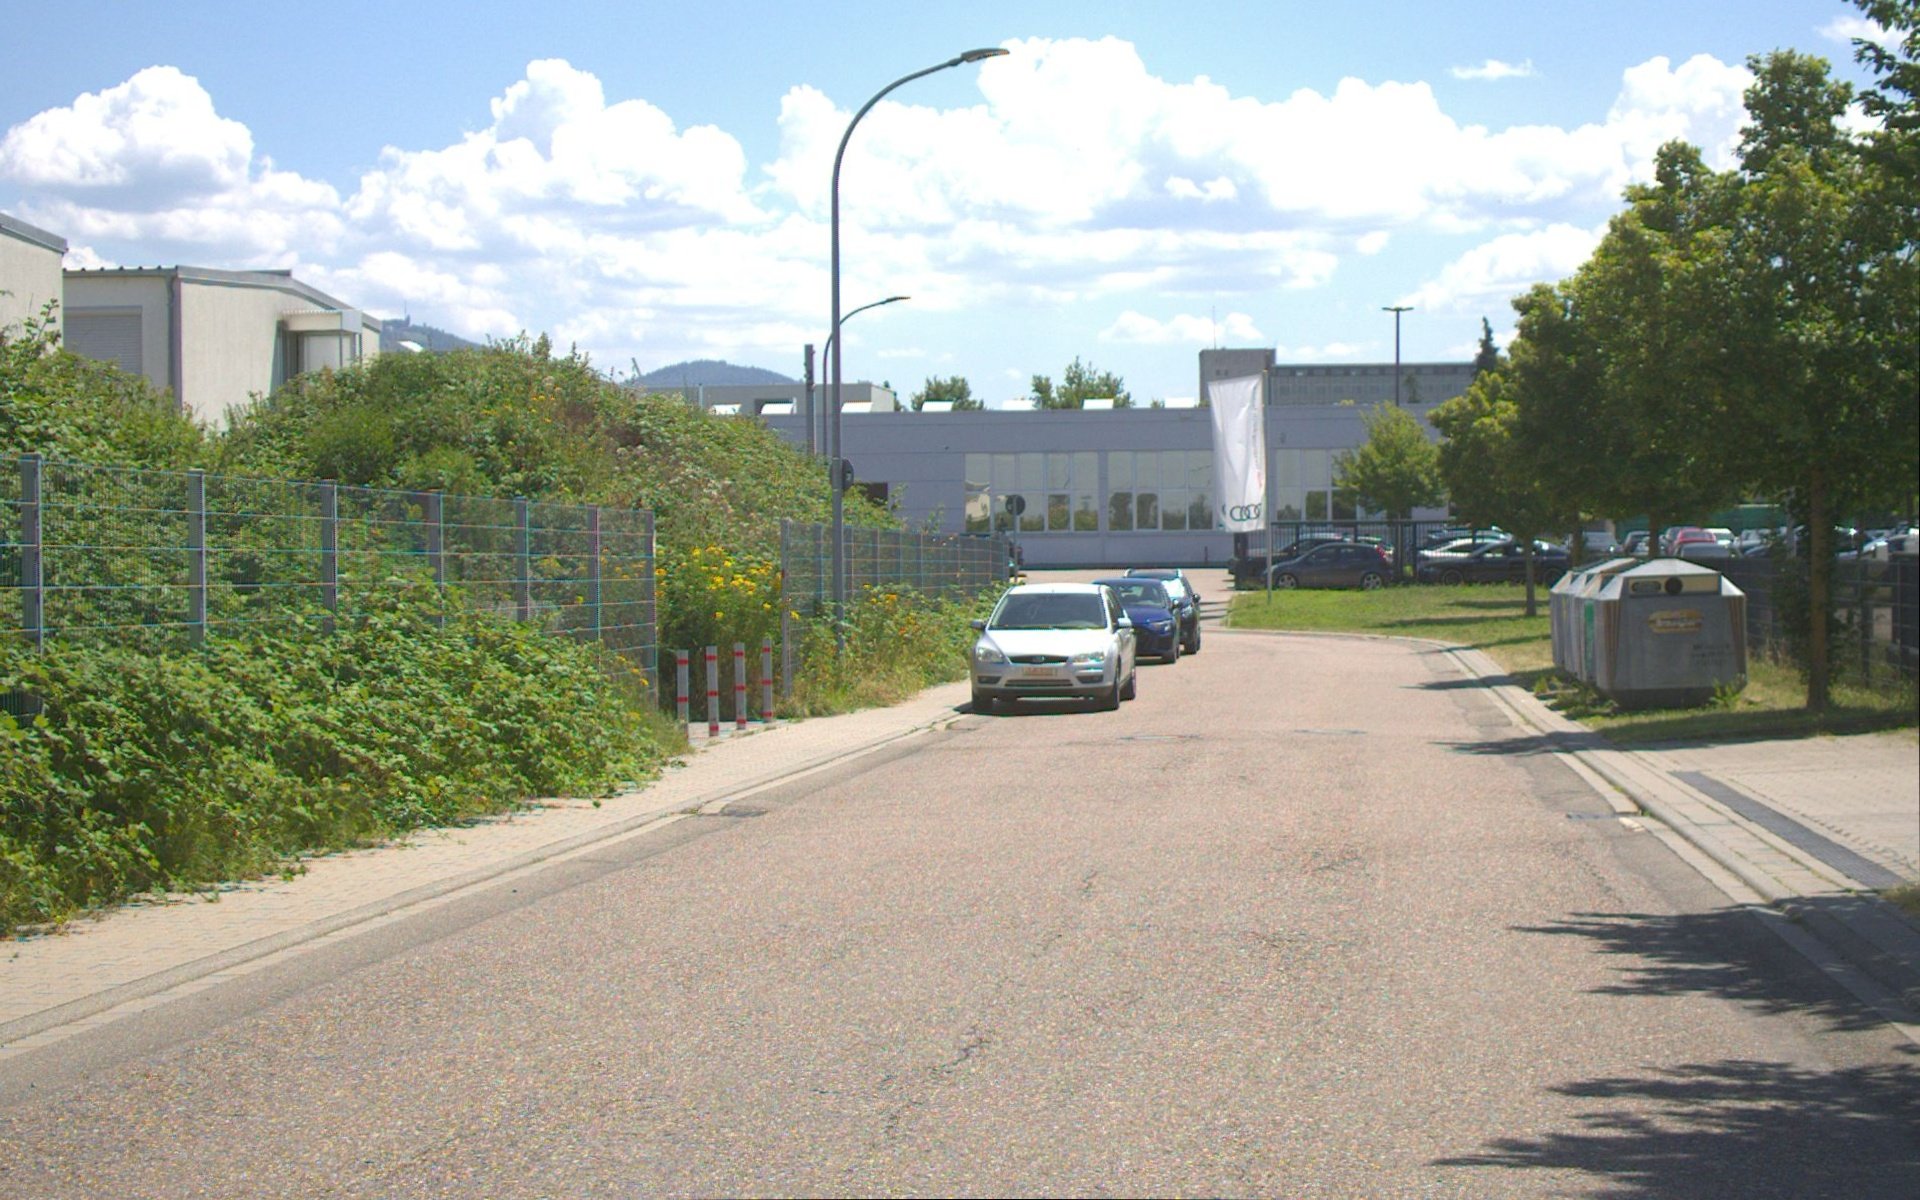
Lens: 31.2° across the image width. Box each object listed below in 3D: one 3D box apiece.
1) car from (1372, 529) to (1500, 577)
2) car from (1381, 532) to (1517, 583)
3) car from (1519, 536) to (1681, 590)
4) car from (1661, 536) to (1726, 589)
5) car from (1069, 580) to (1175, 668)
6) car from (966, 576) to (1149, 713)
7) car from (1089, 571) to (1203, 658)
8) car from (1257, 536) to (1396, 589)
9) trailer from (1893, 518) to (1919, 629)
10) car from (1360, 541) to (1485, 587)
[{"bbox_3d":[15.391,-1.517,111.335,3.987,1.393,1.999,-1,-1,5],"label":"car"},{"bbox_3d":[14.959,-1.294,105.403,3.987,1.393,1.999,-1,-1,5],"label":"car"},{"bbox_3d":[18.554,-1.067,99.814,4.439,1.393,1.999,-1,-1,5],"label":"car"},{"bbox_3d":[27.966,-1.420,131.126,1.994,1.821,3.999,-1,-1,6],"label":"car"},{"bbox_3d":[2.825,0.396,59.324,1.656,1.412,4.145,-2,0,5],"label":"car"},{"bbox_3d":[1.258,0.506,42.338,1.834,1.541,4.366,-2,0,7],"label":"car"},{"bbox_3d":[3.526,0.244,64.603,1.834,1.541,4.263,-2,0,7],"label":"car"},{"bbox_3d":[10.754,-1.091,101.098,3.987,1.393,1.999,-1,-1,5],"label":"car"},{"bbox_3d":[19.215,-0.551,67.079,1.493,2.000,3.263,-2,3,8],"label":"trailer"},{"bbox_3d":[15.347,-1.191,114.168,3.987,1.393,1.999,-1,-1,5],"label":"car"}]
